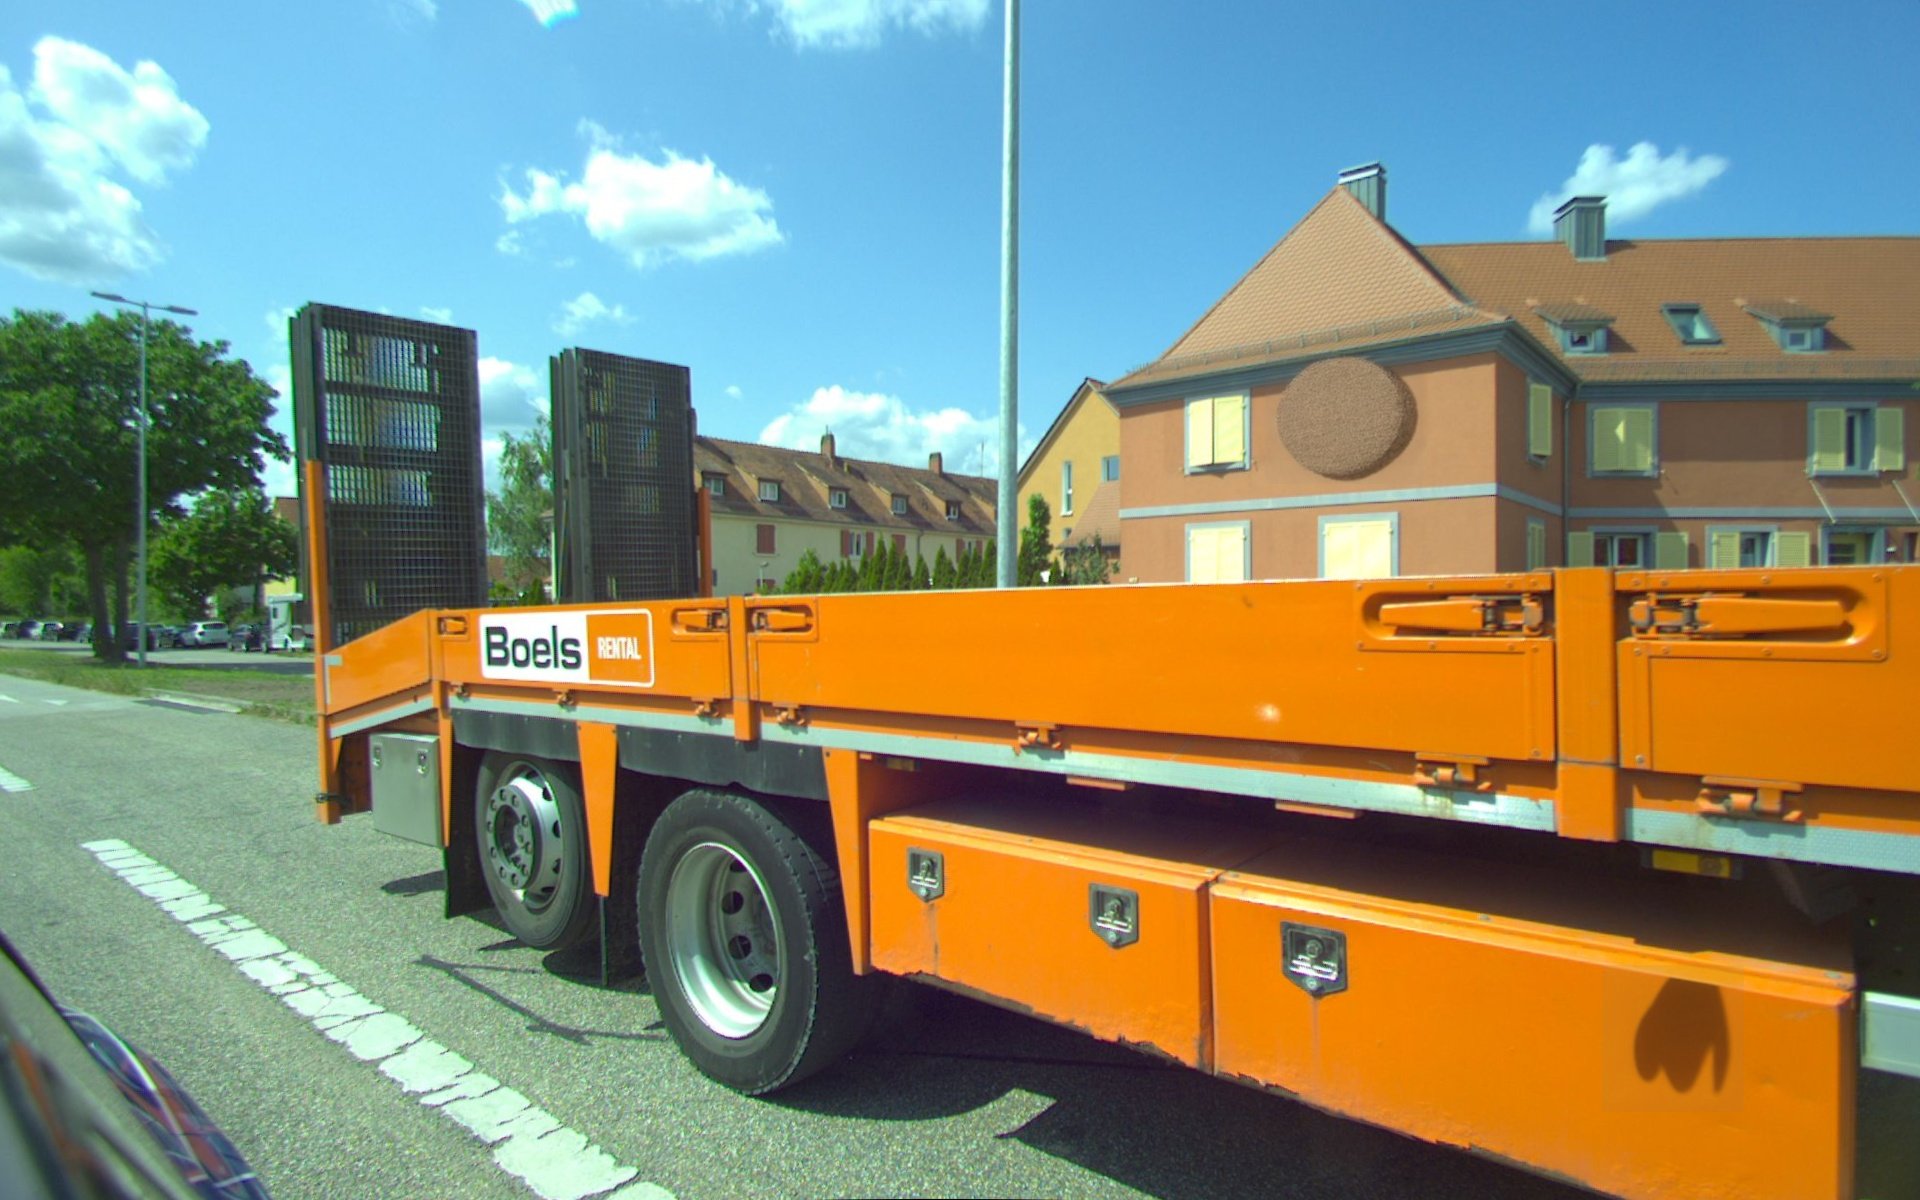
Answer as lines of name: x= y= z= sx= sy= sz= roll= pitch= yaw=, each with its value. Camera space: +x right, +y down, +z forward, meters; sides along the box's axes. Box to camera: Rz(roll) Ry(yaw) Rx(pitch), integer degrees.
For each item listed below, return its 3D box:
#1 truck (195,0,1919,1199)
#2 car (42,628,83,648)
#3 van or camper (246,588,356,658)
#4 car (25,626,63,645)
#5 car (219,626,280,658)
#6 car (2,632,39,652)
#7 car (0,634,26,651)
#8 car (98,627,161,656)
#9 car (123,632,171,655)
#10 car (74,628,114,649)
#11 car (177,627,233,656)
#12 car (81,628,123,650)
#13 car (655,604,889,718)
truck: x=1.257 y=-0.378 z=3.033 sx=11.056 sy=3.439 sz=3.041 roll=0 pitch=2 yaw=39
car: x=-71.779 y=3.037 z=80.940 sx=4.096 sy=1.492 sz=1.645 roll=-2 pitch=1 yaw=37
van or camper: x=-32.197 y=1.133 z=49.328 sx=7.311 sy=3.135 sz=2.237 roll=-2 pitch=1 yaw=39
car: x=-77.164 y=2.990 z=85.258 sx=3.840 sy=1.462 sz=1.645 roll=0 pitch=2 yaw=37
car: x=-37.651 y=2.173 z=53.607 sx=3.989 sy=1.496 sz=1.620 roll=0 pitch=2 yaw=40
car: x=-83.328 y=3.713 z=89.730 sx=4.307 sy=1.624 sz=1.645 roll=0 pitch=1 yaw=37
car: x=-88.192 y=3.926 z=93.910 sx=3.529 sy=1.472 sz=1.579 roll=0 pitch=1 yaw=37
car: x=-44.393 y=2.201 z=54.058 sx=4.572 sy=1.449 sz=1.754 roll=-1 pitch=-1 yaw=40
car: x=-53.150 y=2.794 z=66.125 sx=4.527 sy=1.380 sz=1.496 roll=-1 pitch=1 yaw=40
car: x=-64.889 y=2.879 z=75.809 sx=3.472 sy=1.405 sz=1.548 roll=0 pitch=2 yaw=38
car: x=-44.156 y=2.371 z=59.179 sx=4.120 sy=1.496 sz=1.672 roll=0 pitch=2 yaw=40
car: x=-61.699 y=2.788 z=72.751 sx=4.350 sy=1.405 sz=1.389 roll=-1 pitch=1 yaw=38
car: x=-3.252 y=0.958 z=17.124 sx=3.997 sy=1.702 sz=1.776 roll=-1 pitch=-2 yaw=40
